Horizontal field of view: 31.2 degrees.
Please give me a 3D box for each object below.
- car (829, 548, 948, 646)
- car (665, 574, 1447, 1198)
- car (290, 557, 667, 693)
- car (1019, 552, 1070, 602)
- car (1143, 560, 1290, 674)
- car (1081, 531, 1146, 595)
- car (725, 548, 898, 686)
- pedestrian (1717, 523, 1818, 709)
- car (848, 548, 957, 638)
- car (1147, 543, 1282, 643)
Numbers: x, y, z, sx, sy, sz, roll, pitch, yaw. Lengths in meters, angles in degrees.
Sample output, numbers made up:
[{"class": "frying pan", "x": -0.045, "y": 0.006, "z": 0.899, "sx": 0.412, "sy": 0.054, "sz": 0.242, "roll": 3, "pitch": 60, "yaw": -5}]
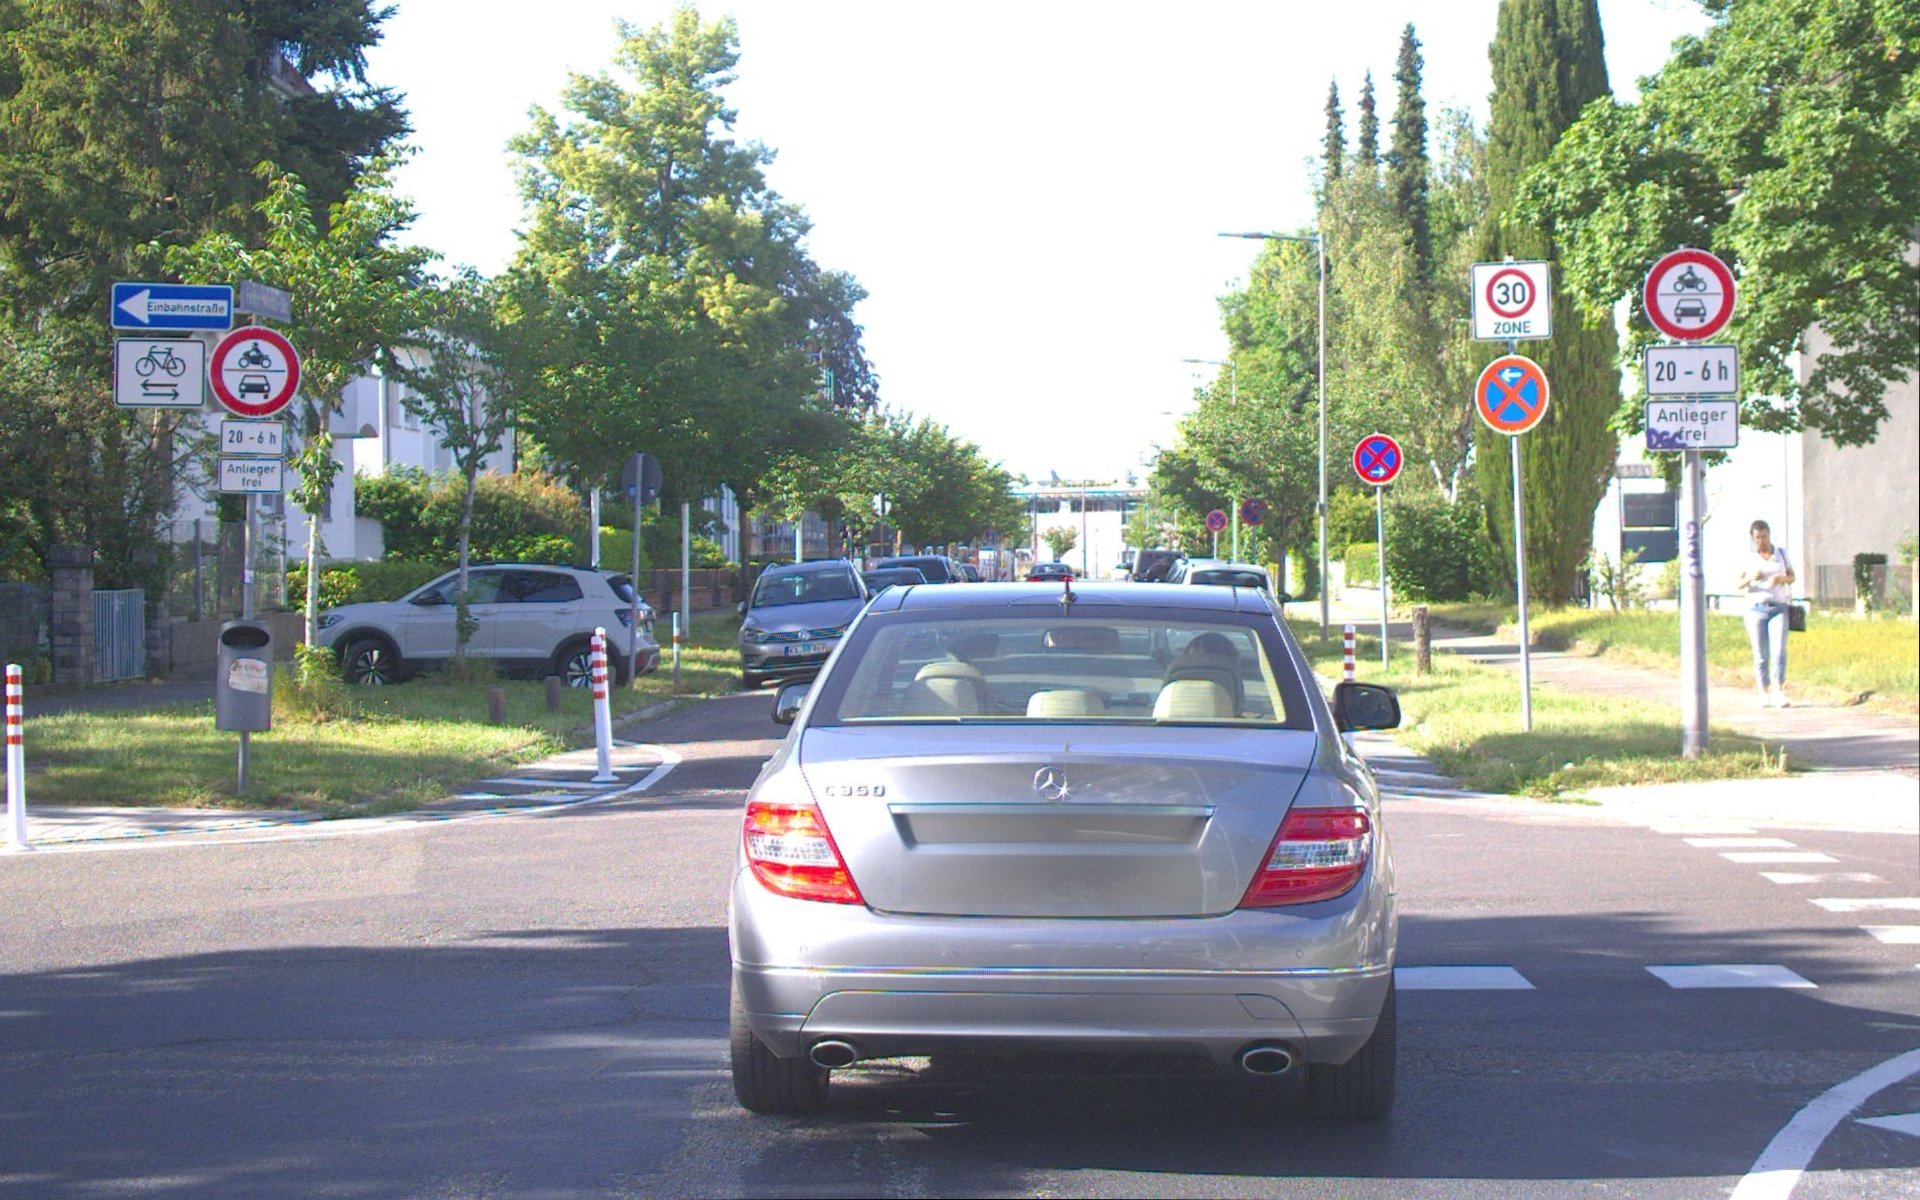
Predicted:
[{"class": "car", "x": -1.276, "y": -0.087, "z": 63.197, "sx": 1.993, "sy": 1.604, "sz": 4.000, "roll": -4, "pitch": 1, "yaw": 0}, {"class": "car", "x": 0.333, "y": 0.652, "z": 10.066, "sx": 1.836, "sy": 1.436, "sz": 4.000, "roll": 0, "pitch": 1, "yaw": 3}, {"class": "car", "x": -5.606, "y": 0.279, "z": 40.400, "sx": 4.192, "sy": 1.558, "sz": 1.842, "roll": 0, "pitch": 1, "yaw": -1}, {"class": "car", "x": 2.821, "y": -0.769, "z": 115.115, "sx": 1.597, "sy": 1.604, "sz": 3.644, "roll": -1, "pitch": 1, "yaw": 0}, {"class": "car", "x": 3.505, "y": 0.203, "z": 47.484, "sx": 1.733, "sy": 1.475, "sz": 3.725, "roll": -1, "pitch": 1, "yaw": 0}, {"class": "car", "x": 4.579, "y": -1.124, "z": 103.049, "sx": 1.855, "sy": 1.835, "sz": 4.000, "roll": -1, "pitch": 1, "yaw": 2}, {"class": "car", "x": -1.912, "y": 0.186, "z": 45.400, "sx": 1.993, "sy": 1.604, "sz": 4.000, "roll": -4, "pitch": 1, "yaw": 0}, {"class": "pedestrian", "x": 7.117, "y": 0.134, "z": 30.330, "sx": 0.766, "sy": 1.605, "sz": 0.834, "roll": -1, "pitch": 1, "yaw": 7}, {"class": "car", "x": -1.122, "y": -0.167, "z": 68.988, "sx": 1.993, "sy": 1.604, "sz": 4.000, "roll": -4, "pitch": 1, "yaw": 0}, {"class": "car", "x": 4.273, "y": -0.142, "z": 58.257, "sx": 1.993, "sy": 1.604, "sz": 4.000, "roll": -1, "pitch": 1, "yaw": 0}]
